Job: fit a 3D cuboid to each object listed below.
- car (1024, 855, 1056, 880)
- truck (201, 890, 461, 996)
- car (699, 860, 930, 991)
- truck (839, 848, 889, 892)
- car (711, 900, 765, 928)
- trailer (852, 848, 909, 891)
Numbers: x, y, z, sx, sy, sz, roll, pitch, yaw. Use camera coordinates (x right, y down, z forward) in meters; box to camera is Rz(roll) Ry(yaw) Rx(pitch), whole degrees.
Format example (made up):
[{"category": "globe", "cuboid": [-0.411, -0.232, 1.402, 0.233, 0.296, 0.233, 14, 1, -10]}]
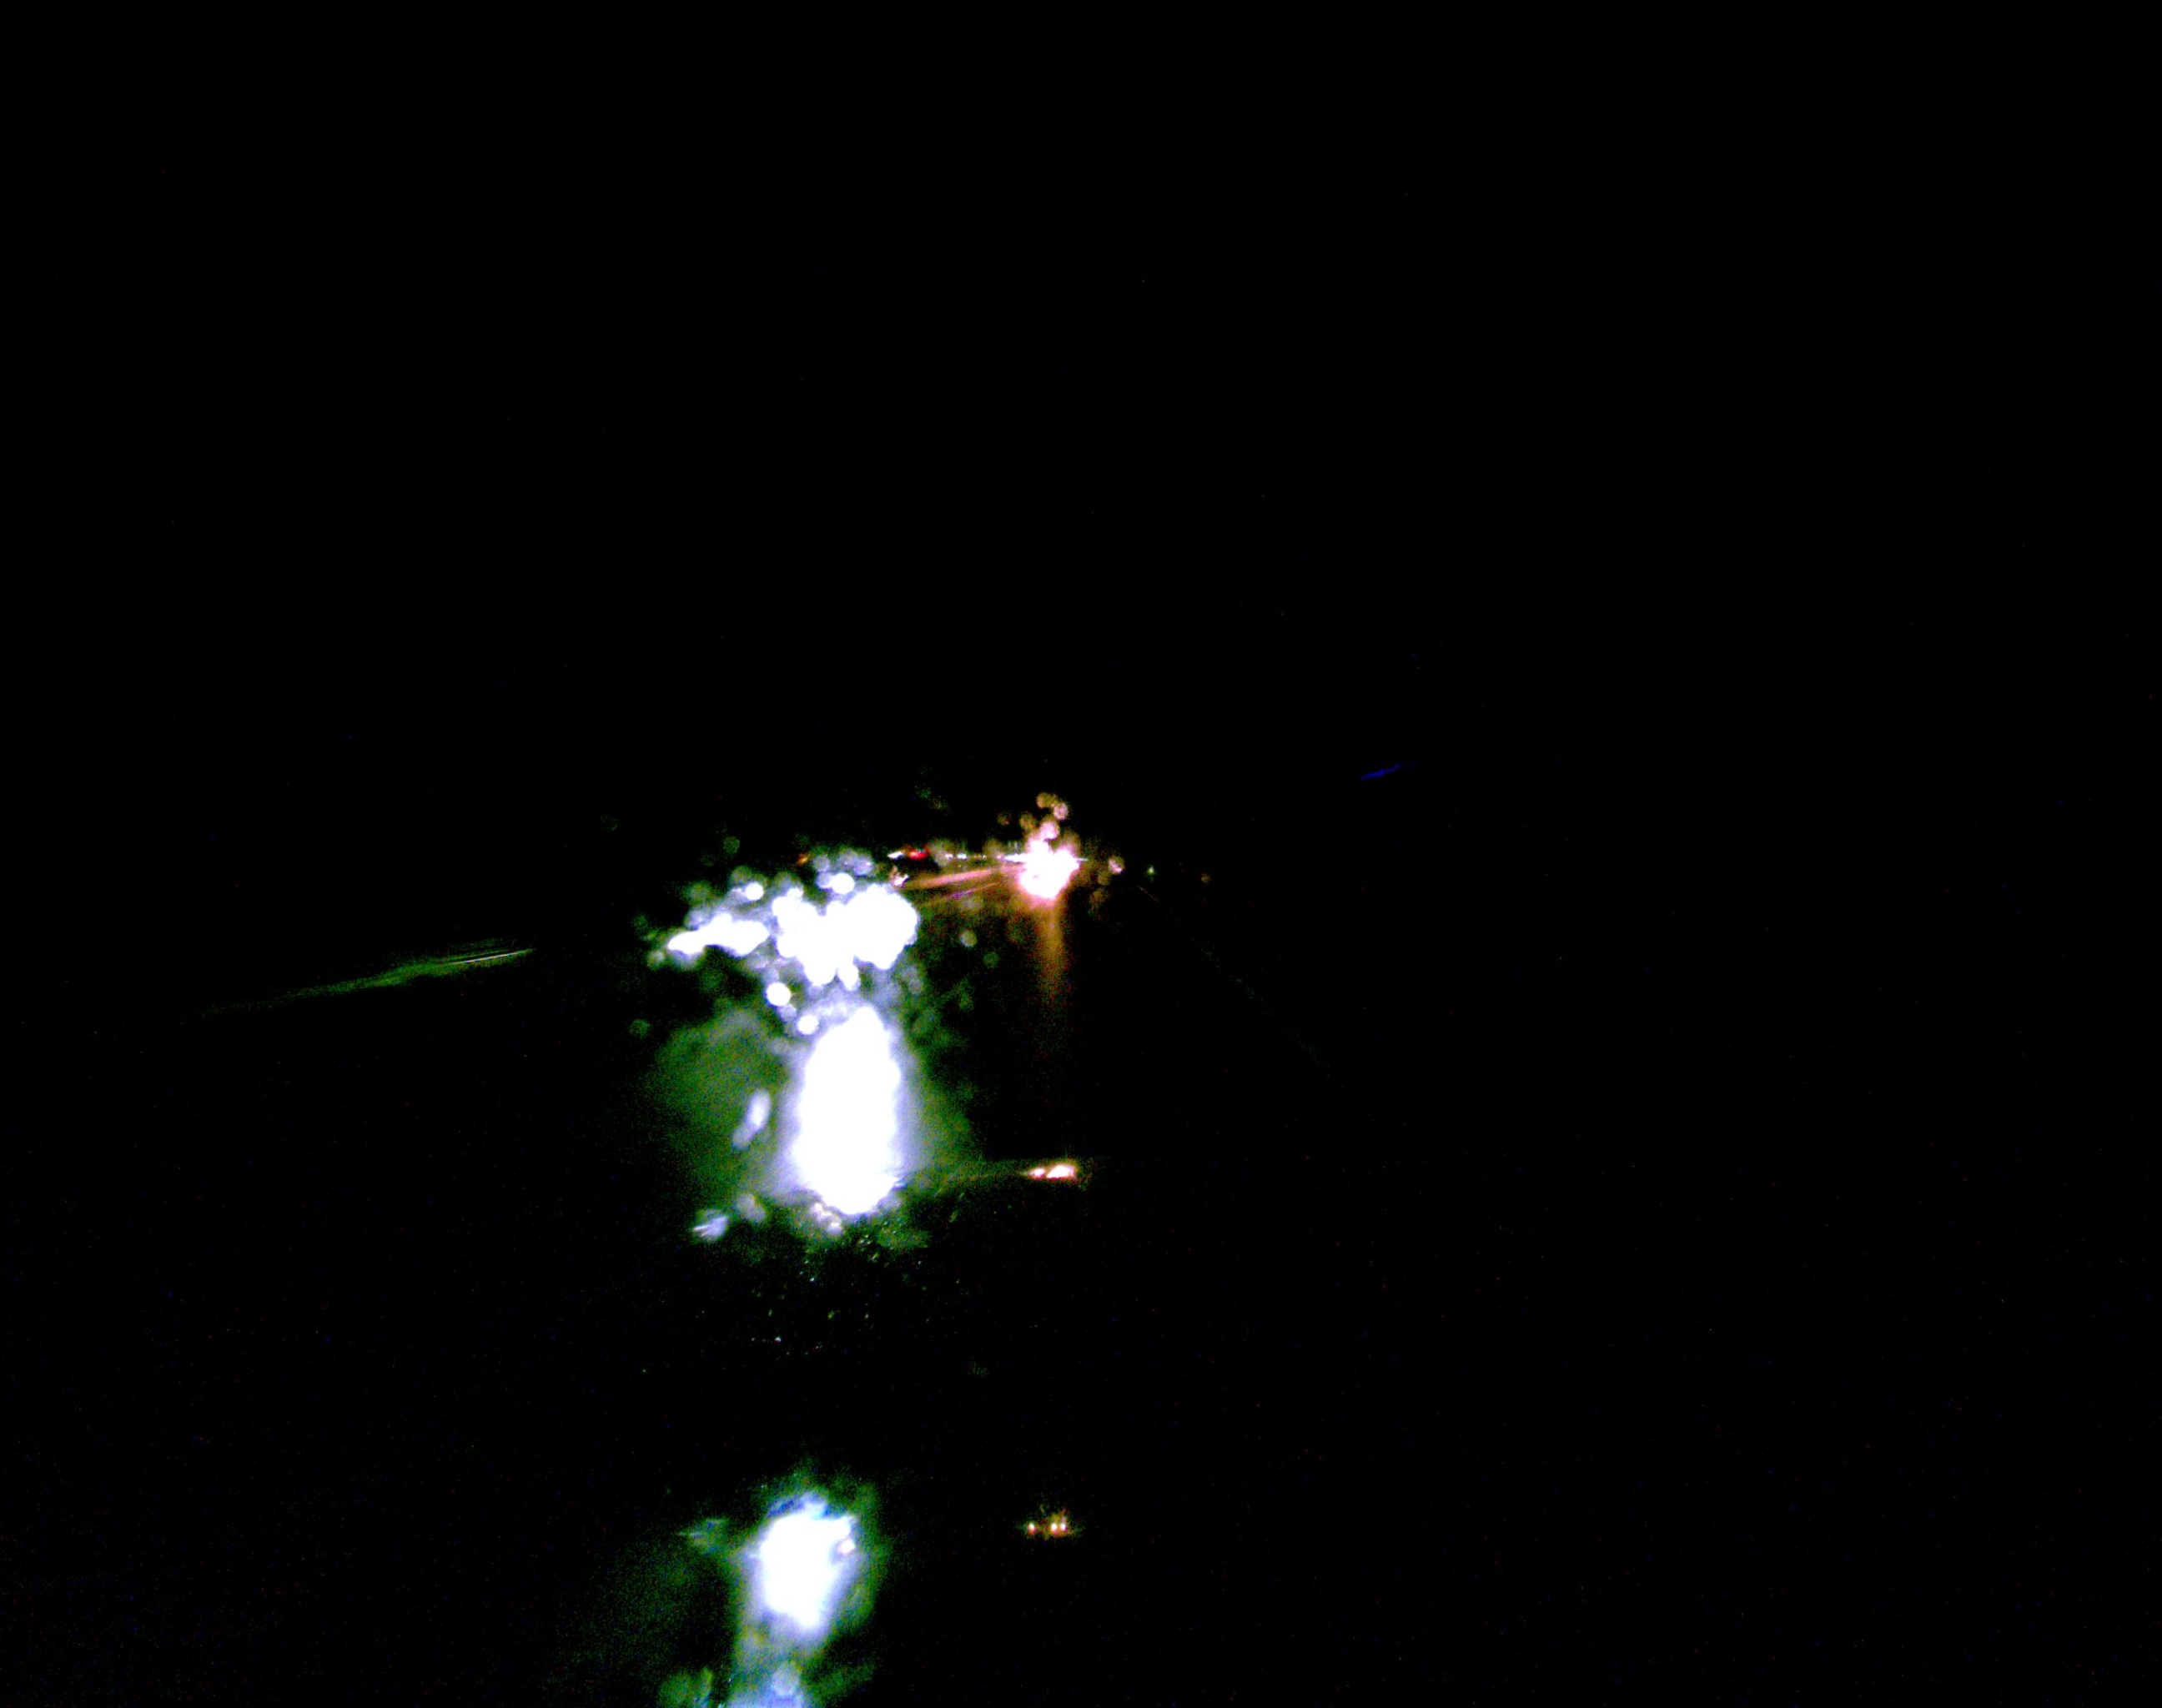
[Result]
[{"category": "car", "cuboid": [-2.710, 0.877, 54.677, 1.820, 1.618, 3.729, 0, -1, 1]}, {"category": "truck", "cuboid": [-30.376, 3.423, 33.661, 2.742, 3.483, 8.117, 0, 0, 5]}, {"category": "car", "cuboid": [-3.459, 0.837, 11.563, 1.862, 1.443, 4.461, -1, -1, -1]}, {"category": "truck", "cuboid": [-24.616, 1.767, 92.917, 3.312, 4.796, 7.326, 0, -1, 4]}, {"category": "car", "cuboid": [-23.714, 4.144, 56.510, 1.801, 1.676, 4.294, 0, -1, 2]}, {"category": "trailer", "cuboid": [-24.145, 1.811, 98.817, 3.312, 4.796, 11.567, 0, -1, 4]}]
